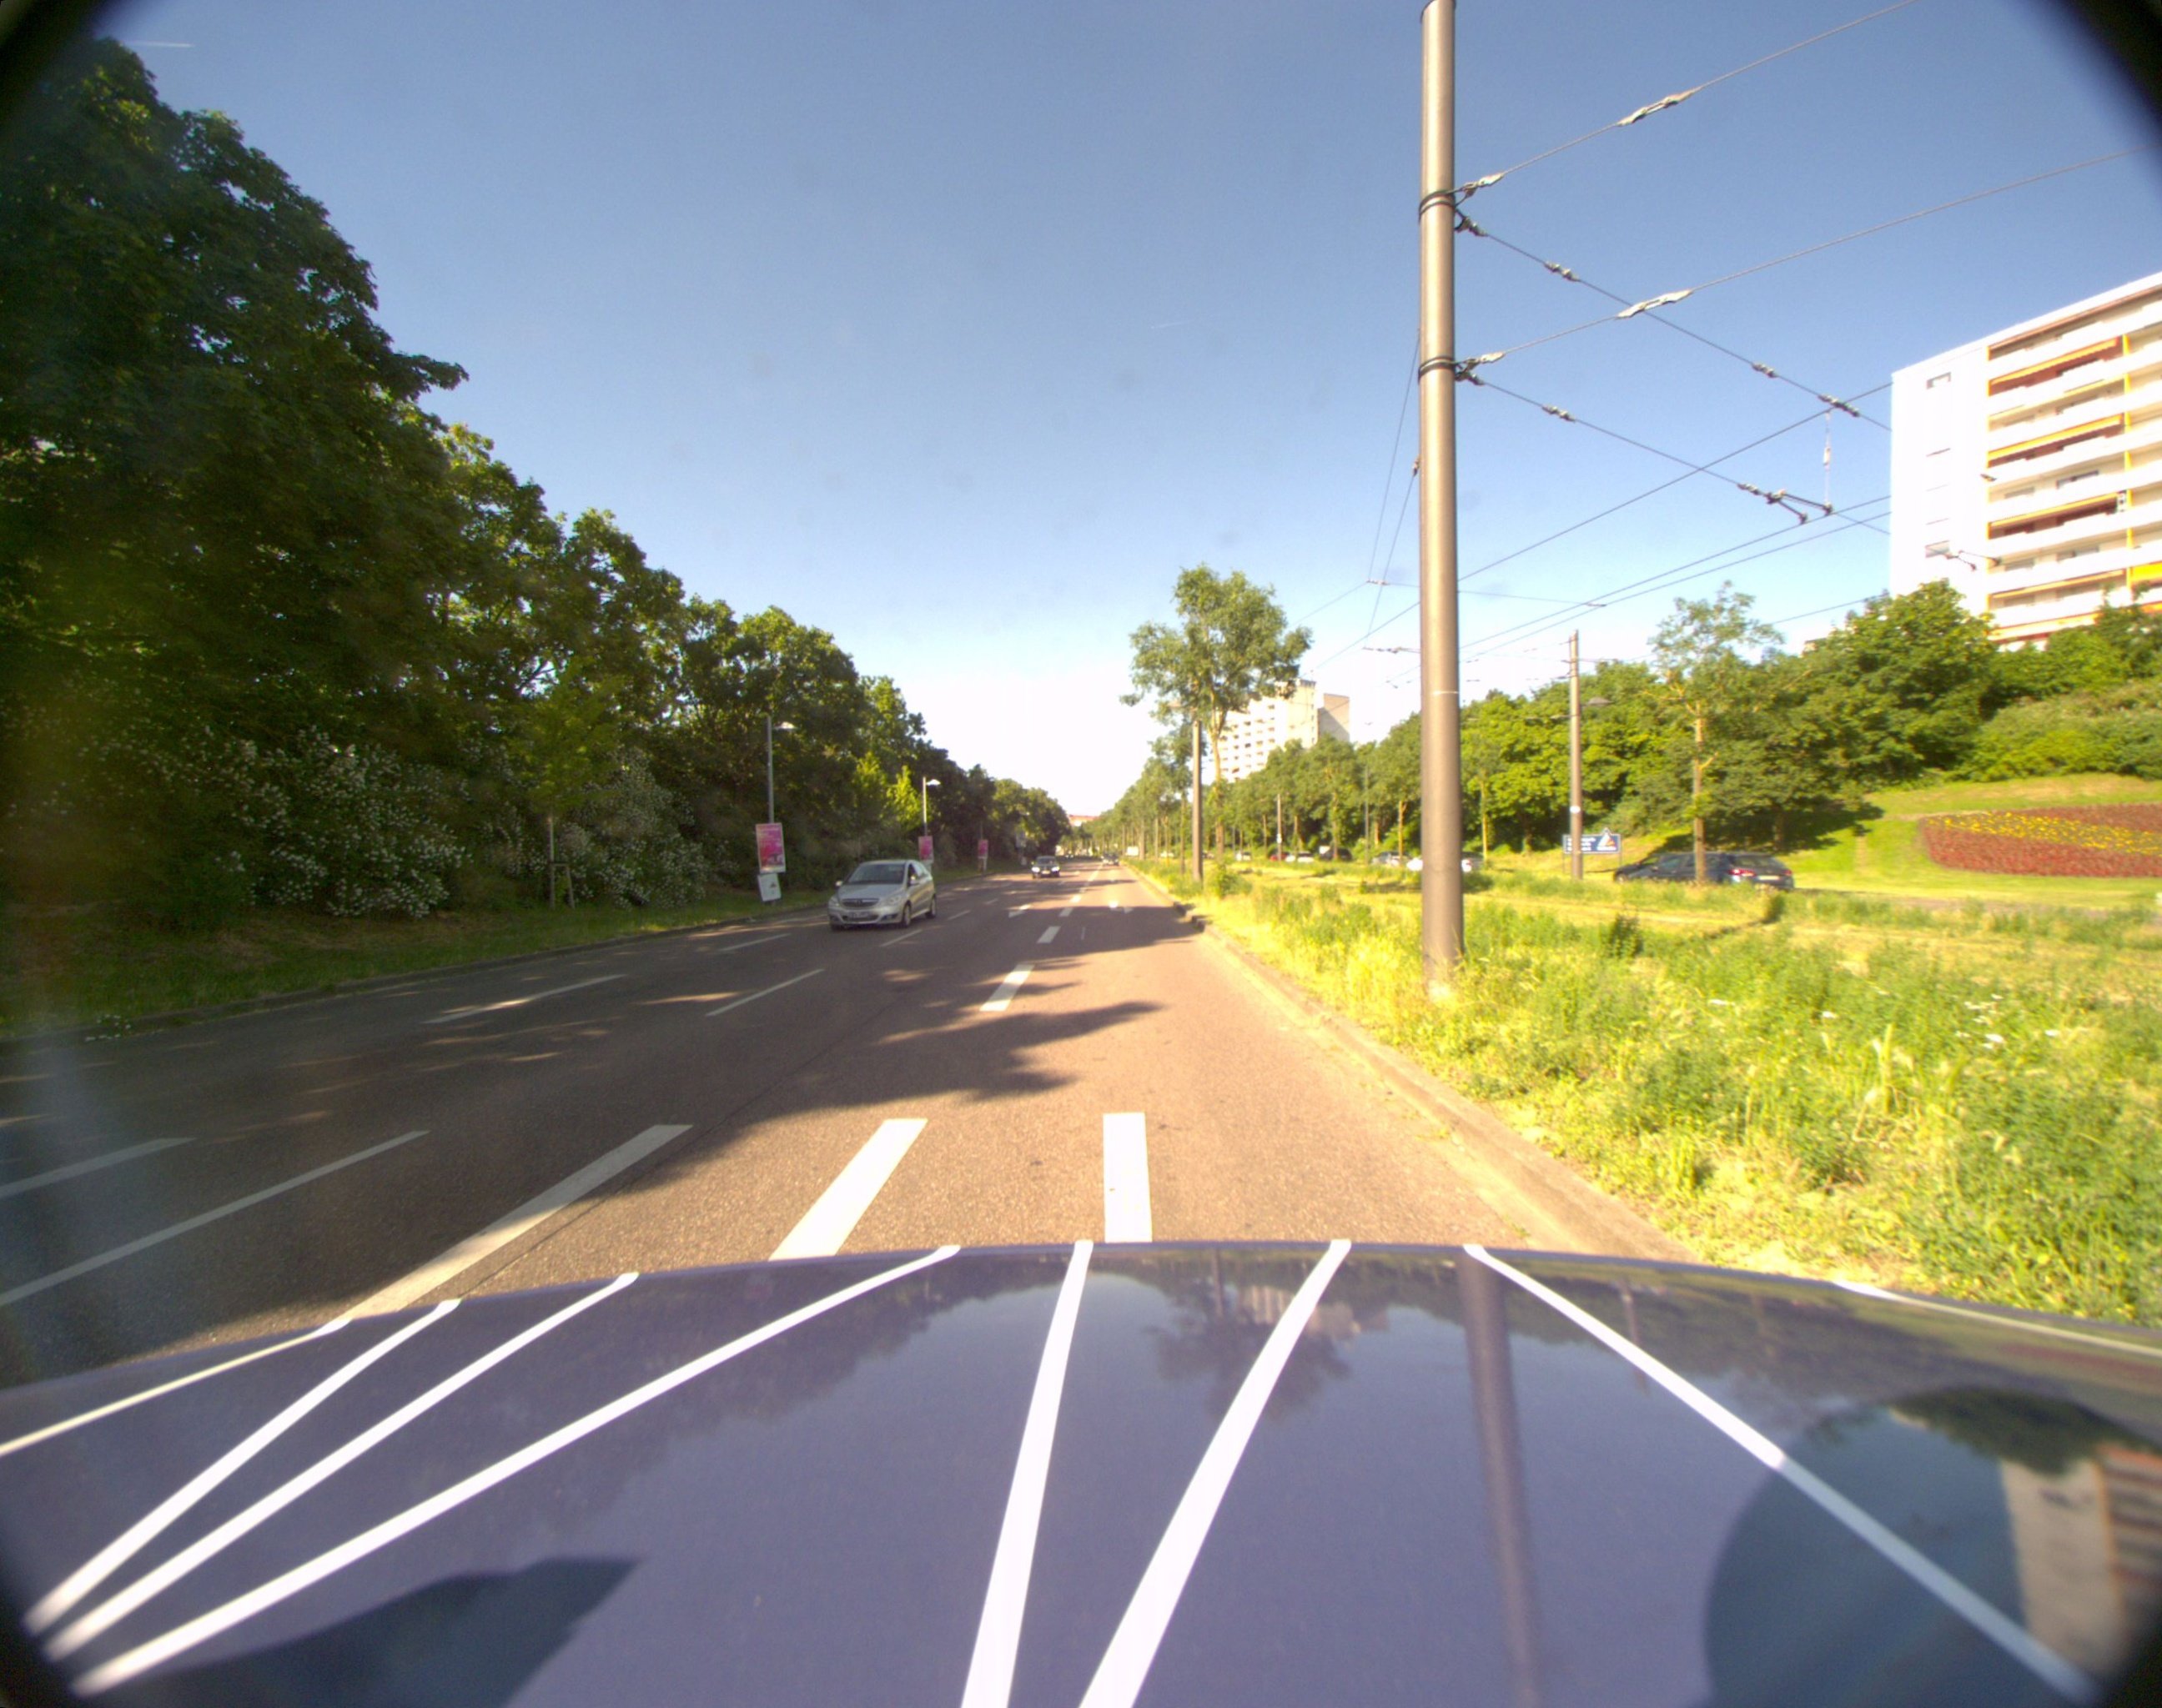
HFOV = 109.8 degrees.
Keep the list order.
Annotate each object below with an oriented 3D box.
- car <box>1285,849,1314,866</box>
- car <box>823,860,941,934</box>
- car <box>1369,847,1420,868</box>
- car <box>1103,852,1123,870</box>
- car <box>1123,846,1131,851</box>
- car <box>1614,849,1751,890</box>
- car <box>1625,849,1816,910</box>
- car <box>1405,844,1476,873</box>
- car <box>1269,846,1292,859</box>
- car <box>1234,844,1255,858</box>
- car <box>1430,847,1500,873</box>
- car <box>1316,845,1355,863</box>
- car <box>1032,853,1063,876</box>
[{"bbox_3d":[19.527,0.292,67.922,1.592,1.464,4.183,1,1,3],"label":"car"},{"bbox_3d":[-4.754,0.963,18.763,1.672,1.531,4.060,-2,0,2],"label":"car"},{"bbox_3d":[23.125,0.240,56.274,1.998,1.424,4.693,0,1,2],"label":"car"},{"bbox_3d":[3.360,0.738,80.312,1.998,1.696,3.999,-2,1,1],"label":"car"},{"bbox_3d":[13.373,-1.586,220.316,1.998,1.575,5.273,-2,1,2],"label":"car"},{"bbox_3d":[21.844,0.513,27.807,1.866,1.334,4.031,0,1,1],"label":"car"},{"bbox_3d":[18.294,0.641,22.087,1.998,1.585,4.465,0,1,4],"label":"car"},{"bbox_3d":[19.073,0.204,40.510,1.707,1.414,4.643,-1,0,2],"label":"car"},{"bbox_3d":[22.718,-0.186,86.543,1.661,1.290,4.177,-2,1,3],"label":"car"},{"bbox_3d":[19.528,-0.347,90.938,1.767,1.599,3.758,0,1,2],"label":"car"},{"bbox_3d":[22.449,0.308,44.586,1.998,1.366,4.400,-2,1,3],"label":"car"},{"bbox_3d":[22.670,-0.046,67.839,1.998,1.472,4.631,-2,1,2],"label":"car"},{"bbox_3d":[-2.247,0.696,51.683,1.831,1.401,4.216,-2,1,1],"label":"car"}]
